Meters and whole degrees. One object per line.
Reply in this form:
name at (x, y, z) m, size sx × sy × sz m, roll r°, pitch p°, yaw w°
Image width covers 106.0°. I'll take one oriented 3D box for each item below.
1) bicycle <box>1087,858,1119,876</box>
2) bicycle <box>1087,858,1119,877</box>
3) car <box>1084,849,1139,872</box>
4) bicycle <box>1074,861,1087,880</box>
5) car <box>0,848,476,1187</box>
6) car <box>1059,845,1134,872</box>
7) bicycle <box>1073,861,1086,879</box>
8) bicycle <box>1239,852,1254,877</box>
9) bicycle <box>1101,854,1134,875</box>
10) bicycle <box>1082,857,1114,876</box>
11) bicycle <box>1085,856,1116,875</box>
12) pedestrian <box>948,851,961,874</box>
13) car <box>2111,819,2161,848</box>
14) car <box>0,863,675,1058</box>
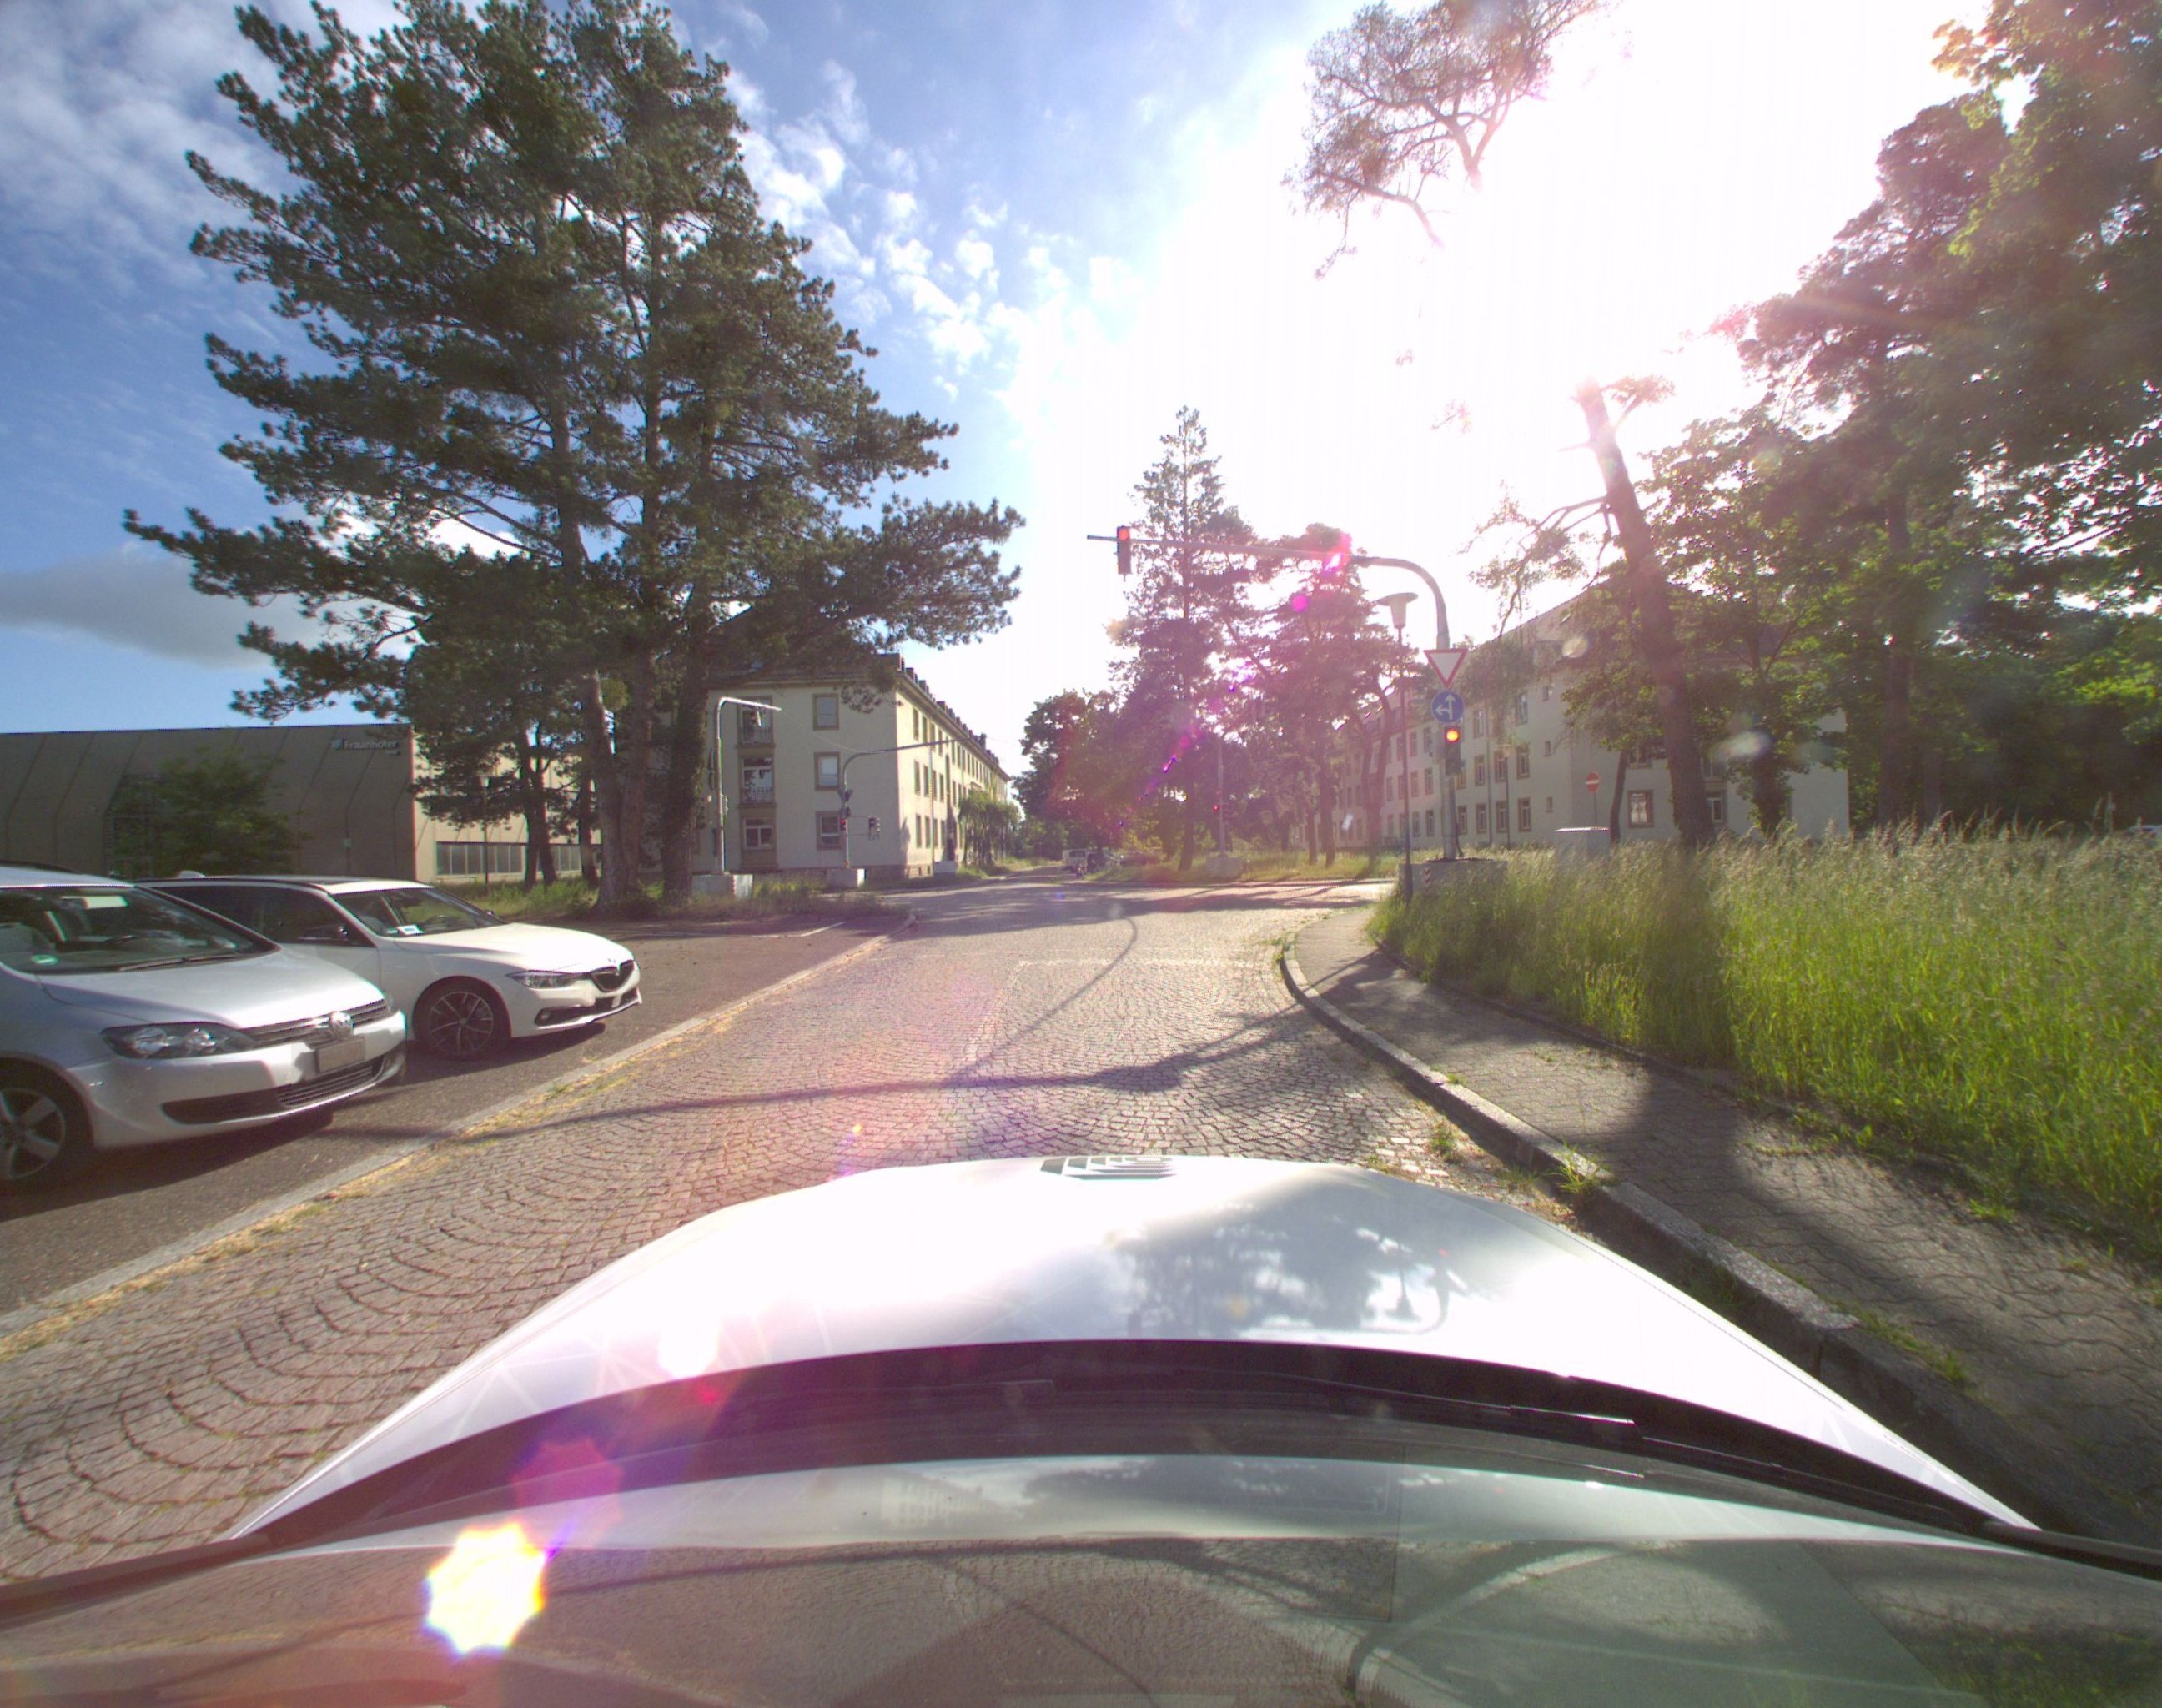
bicycle at (1.304, 0.773, 49.080) m, size 1.850 × 1.031 × 0.749 m, roll -2°, pitch 0°, yaw -3°
bicycle at (1.336, 0.815, 49.878) m, size 1.936 × 1.129 × 0.749 m, roll -2°, pitch 0°, yaw -3°
car at (2.359, 0.504, 62.853) m, size 3.984 × 1.684 × 1.842 m, roll -2°, pitch 0°, yaw -8°
bicycle at (-0.035, 0.912, 45.590) m, size 0.693 × 0.971 × 1.859 m, roll -1°, pitch 0°, yaw -2°
car at (-6.209, 0.791, 4.746) m, size 3.936 × 1.626 × 1.719 m, roll 1°, pitch 0°, yaw -5°
car at (1.233, 0.396, 67.103) m, size 5.925 × 2.013 × 2.469 m, roll -2°, pitch 0°, yaw -7°
bicycle at (-0.082, 0.910, 47.529) m, size 0.693 × 0.971 × 1.859 m, roll -1°, pitch 0°, yaw -2°
bicycle at (7.521, 0.468, 36.978) m, size 0.464 × 1.080 × 1.175 m, roll -2°, pitch -1°, yaw 4°
bicycle at (2.264, 0.676, 50.585) m, size 1.936 × 1.235 × 0.485 m, roll -2°, pitch 0°, yaw -3°
bicycle at (1.071, 0.777, 51.095) m, size 1.951 × 1.129 × 0.642 m, roll -2°, pitch 0°, yaw -27°
bicycle at (1.238, 0.728, 52.188) m, size 1.938 × 1.129 × 0.646 m, roll -2°, pitch 0°, yaw -5°
pedestrian at (-10.030, 0.680, 64.383) m, size 0.806 × 1.817 × 0.557 m, roll -2°, pitch 0°, yaw 11°
car at (57.467, -1.108, 43.034) m, size 3.978 × 1.464 × 1.845 m, roll -2°, pitch 0°, yaw -3°
car at (-6.352, 0.858, 7.251) m, size 4.530 × 1.467 × 1.751 m, roll 1°, pitch 0°, yaw -3°
